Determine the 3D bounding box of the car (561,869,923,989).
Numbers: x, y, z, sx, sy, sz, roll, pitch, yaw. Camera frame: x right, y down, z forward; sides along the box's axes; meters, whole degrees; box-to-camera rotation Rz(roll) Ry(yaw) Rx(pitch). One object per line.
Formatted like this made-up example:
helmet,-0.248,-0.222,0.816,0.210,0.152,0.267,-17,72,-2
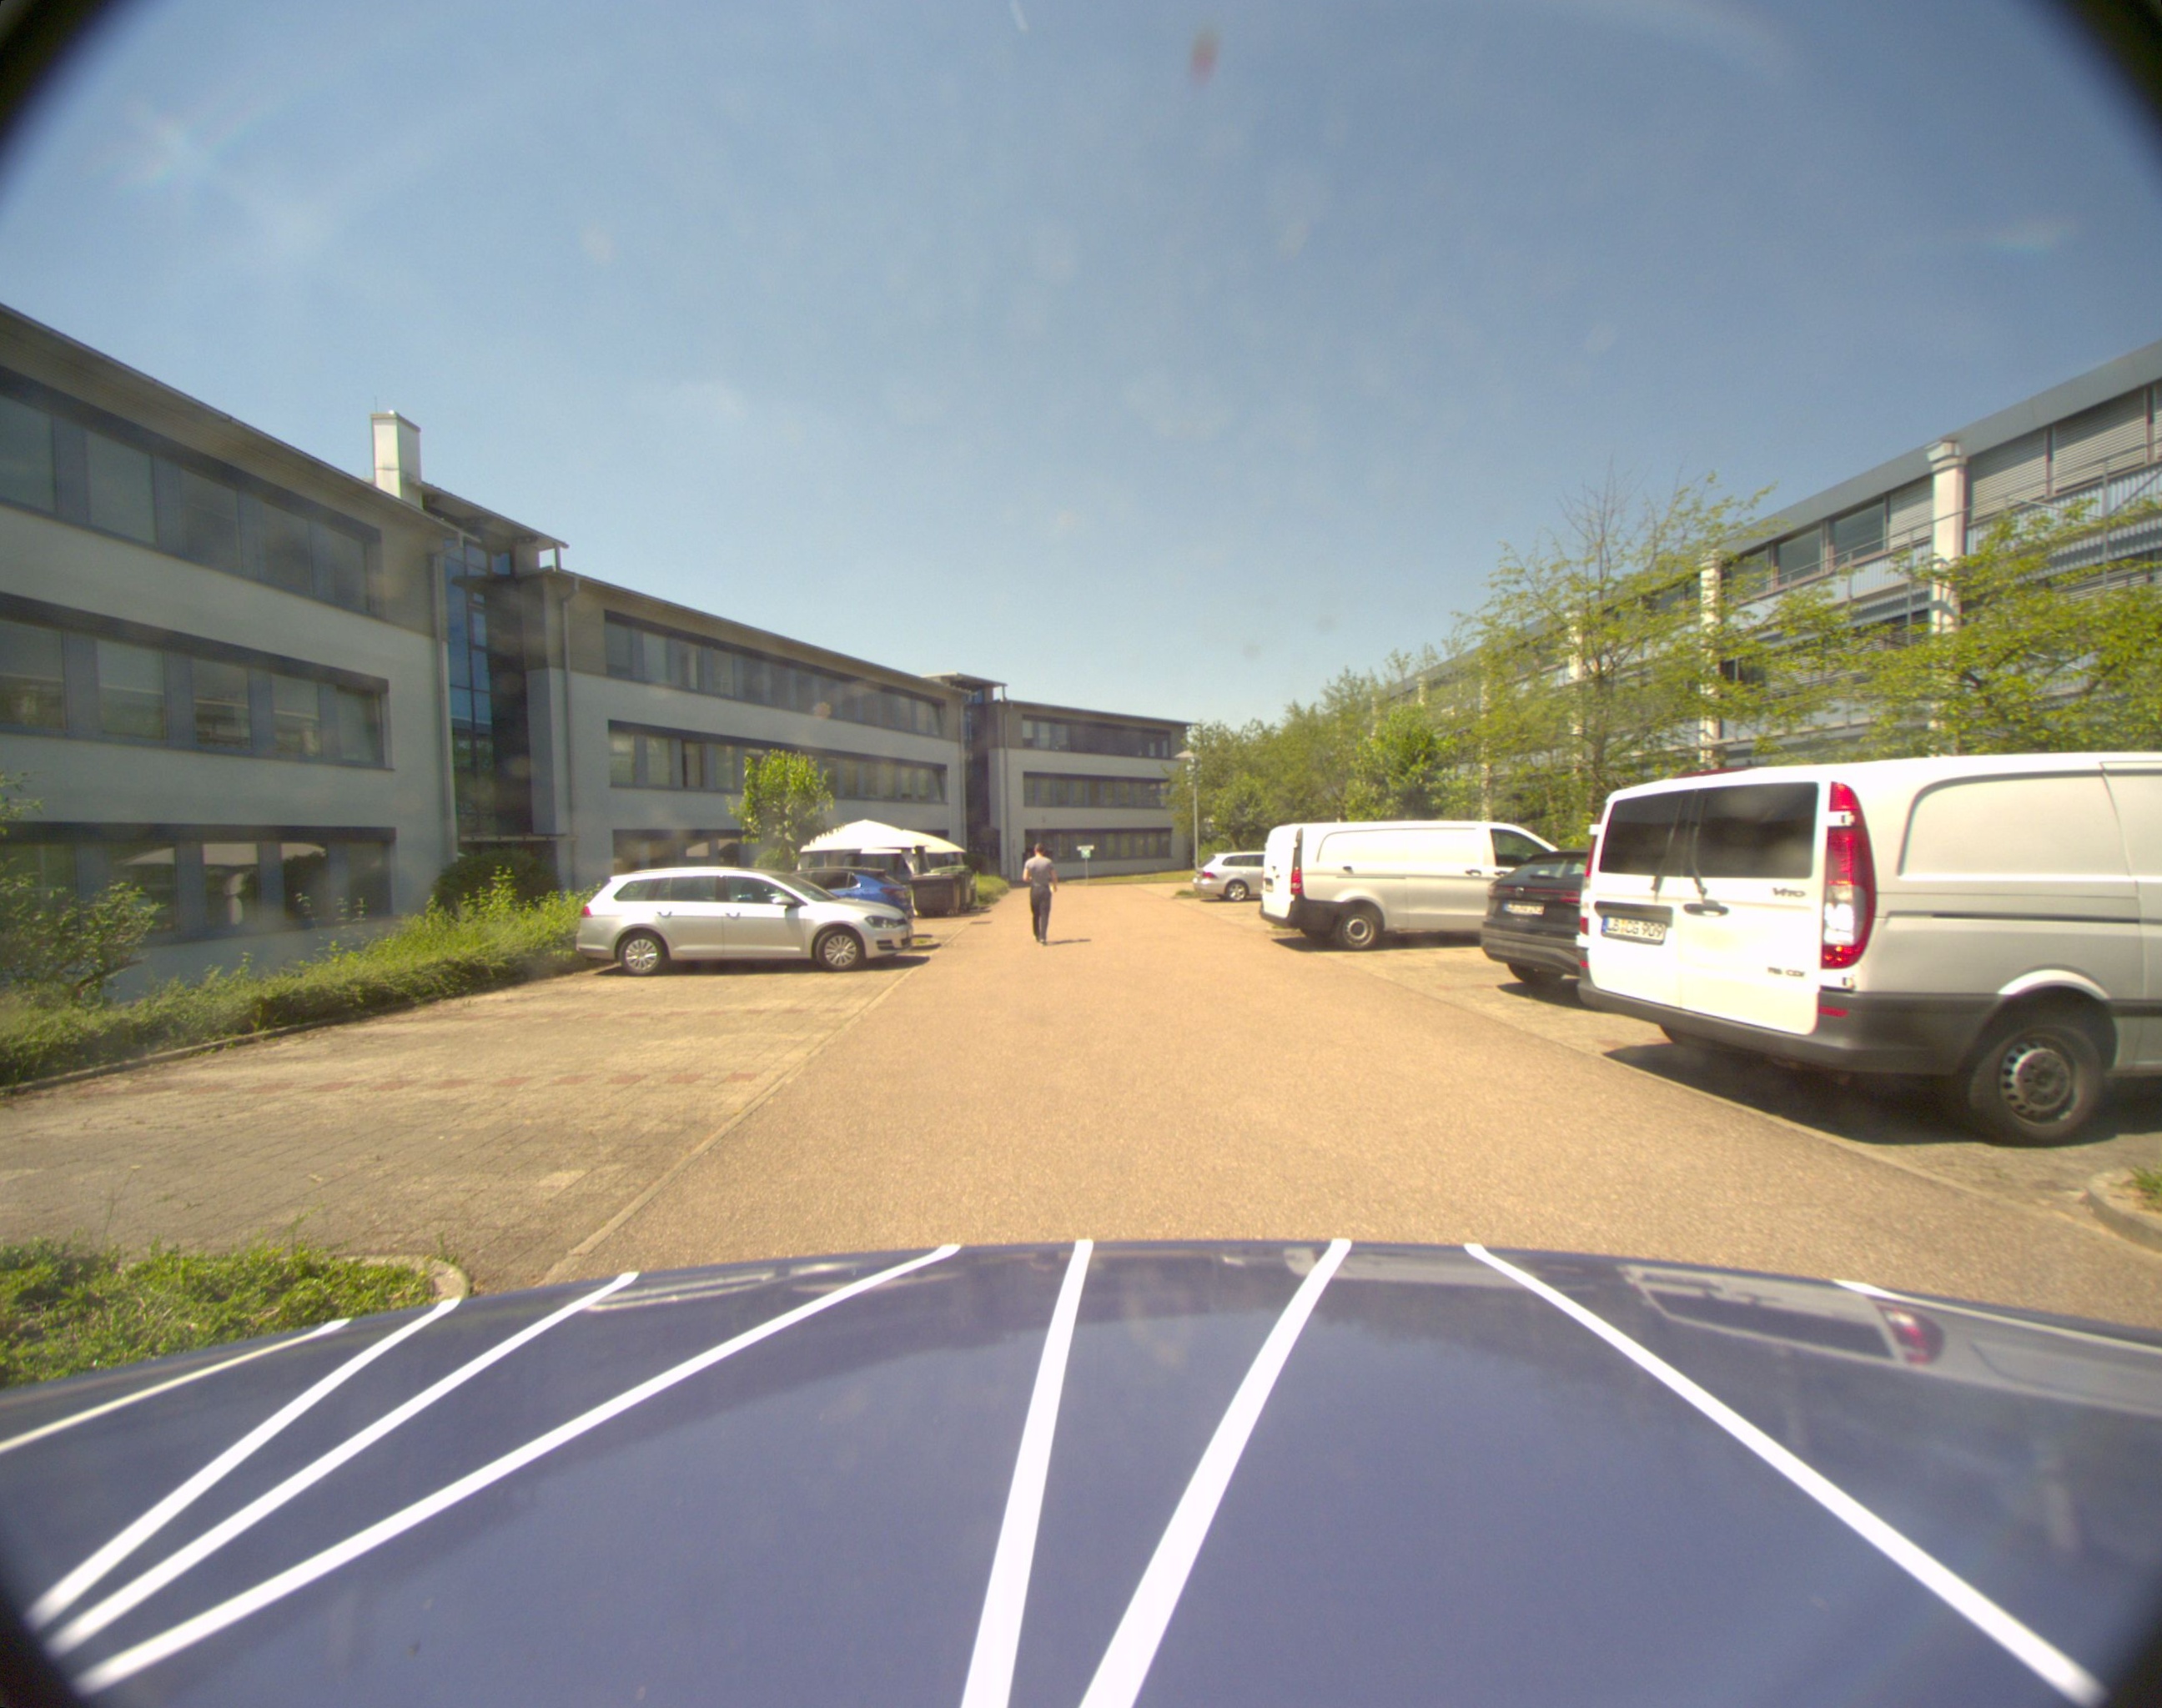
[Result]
car,-4.699,1.012,11.092,4.425,1.511,1.856,-1,0,-3

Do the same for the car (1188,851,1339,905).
car,5.380,0.703,22.740,4.082,1.475,1.739,-1,0,0

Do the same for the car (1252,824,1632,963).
car,5.318,0.555,11.660,4.932,1.845,1.856,-1,0,-1

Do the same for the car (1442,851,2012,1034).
car,6.030,0.752,7.419,4.196,1.475,1.739,-1,0,-3

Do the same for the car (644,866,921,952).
car,-5.583,1.008,14.712,4.610,1.485,1.856,-1,0,-3

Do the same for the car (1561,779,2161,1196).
car,5.724,0.567,4.470,4.675,1.849,1.868,-1,0,-3

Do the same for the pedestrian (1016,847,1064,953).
pedestrian,-0.697,0.773,13.074,0.698,1.747,0.777,-2,1,1
